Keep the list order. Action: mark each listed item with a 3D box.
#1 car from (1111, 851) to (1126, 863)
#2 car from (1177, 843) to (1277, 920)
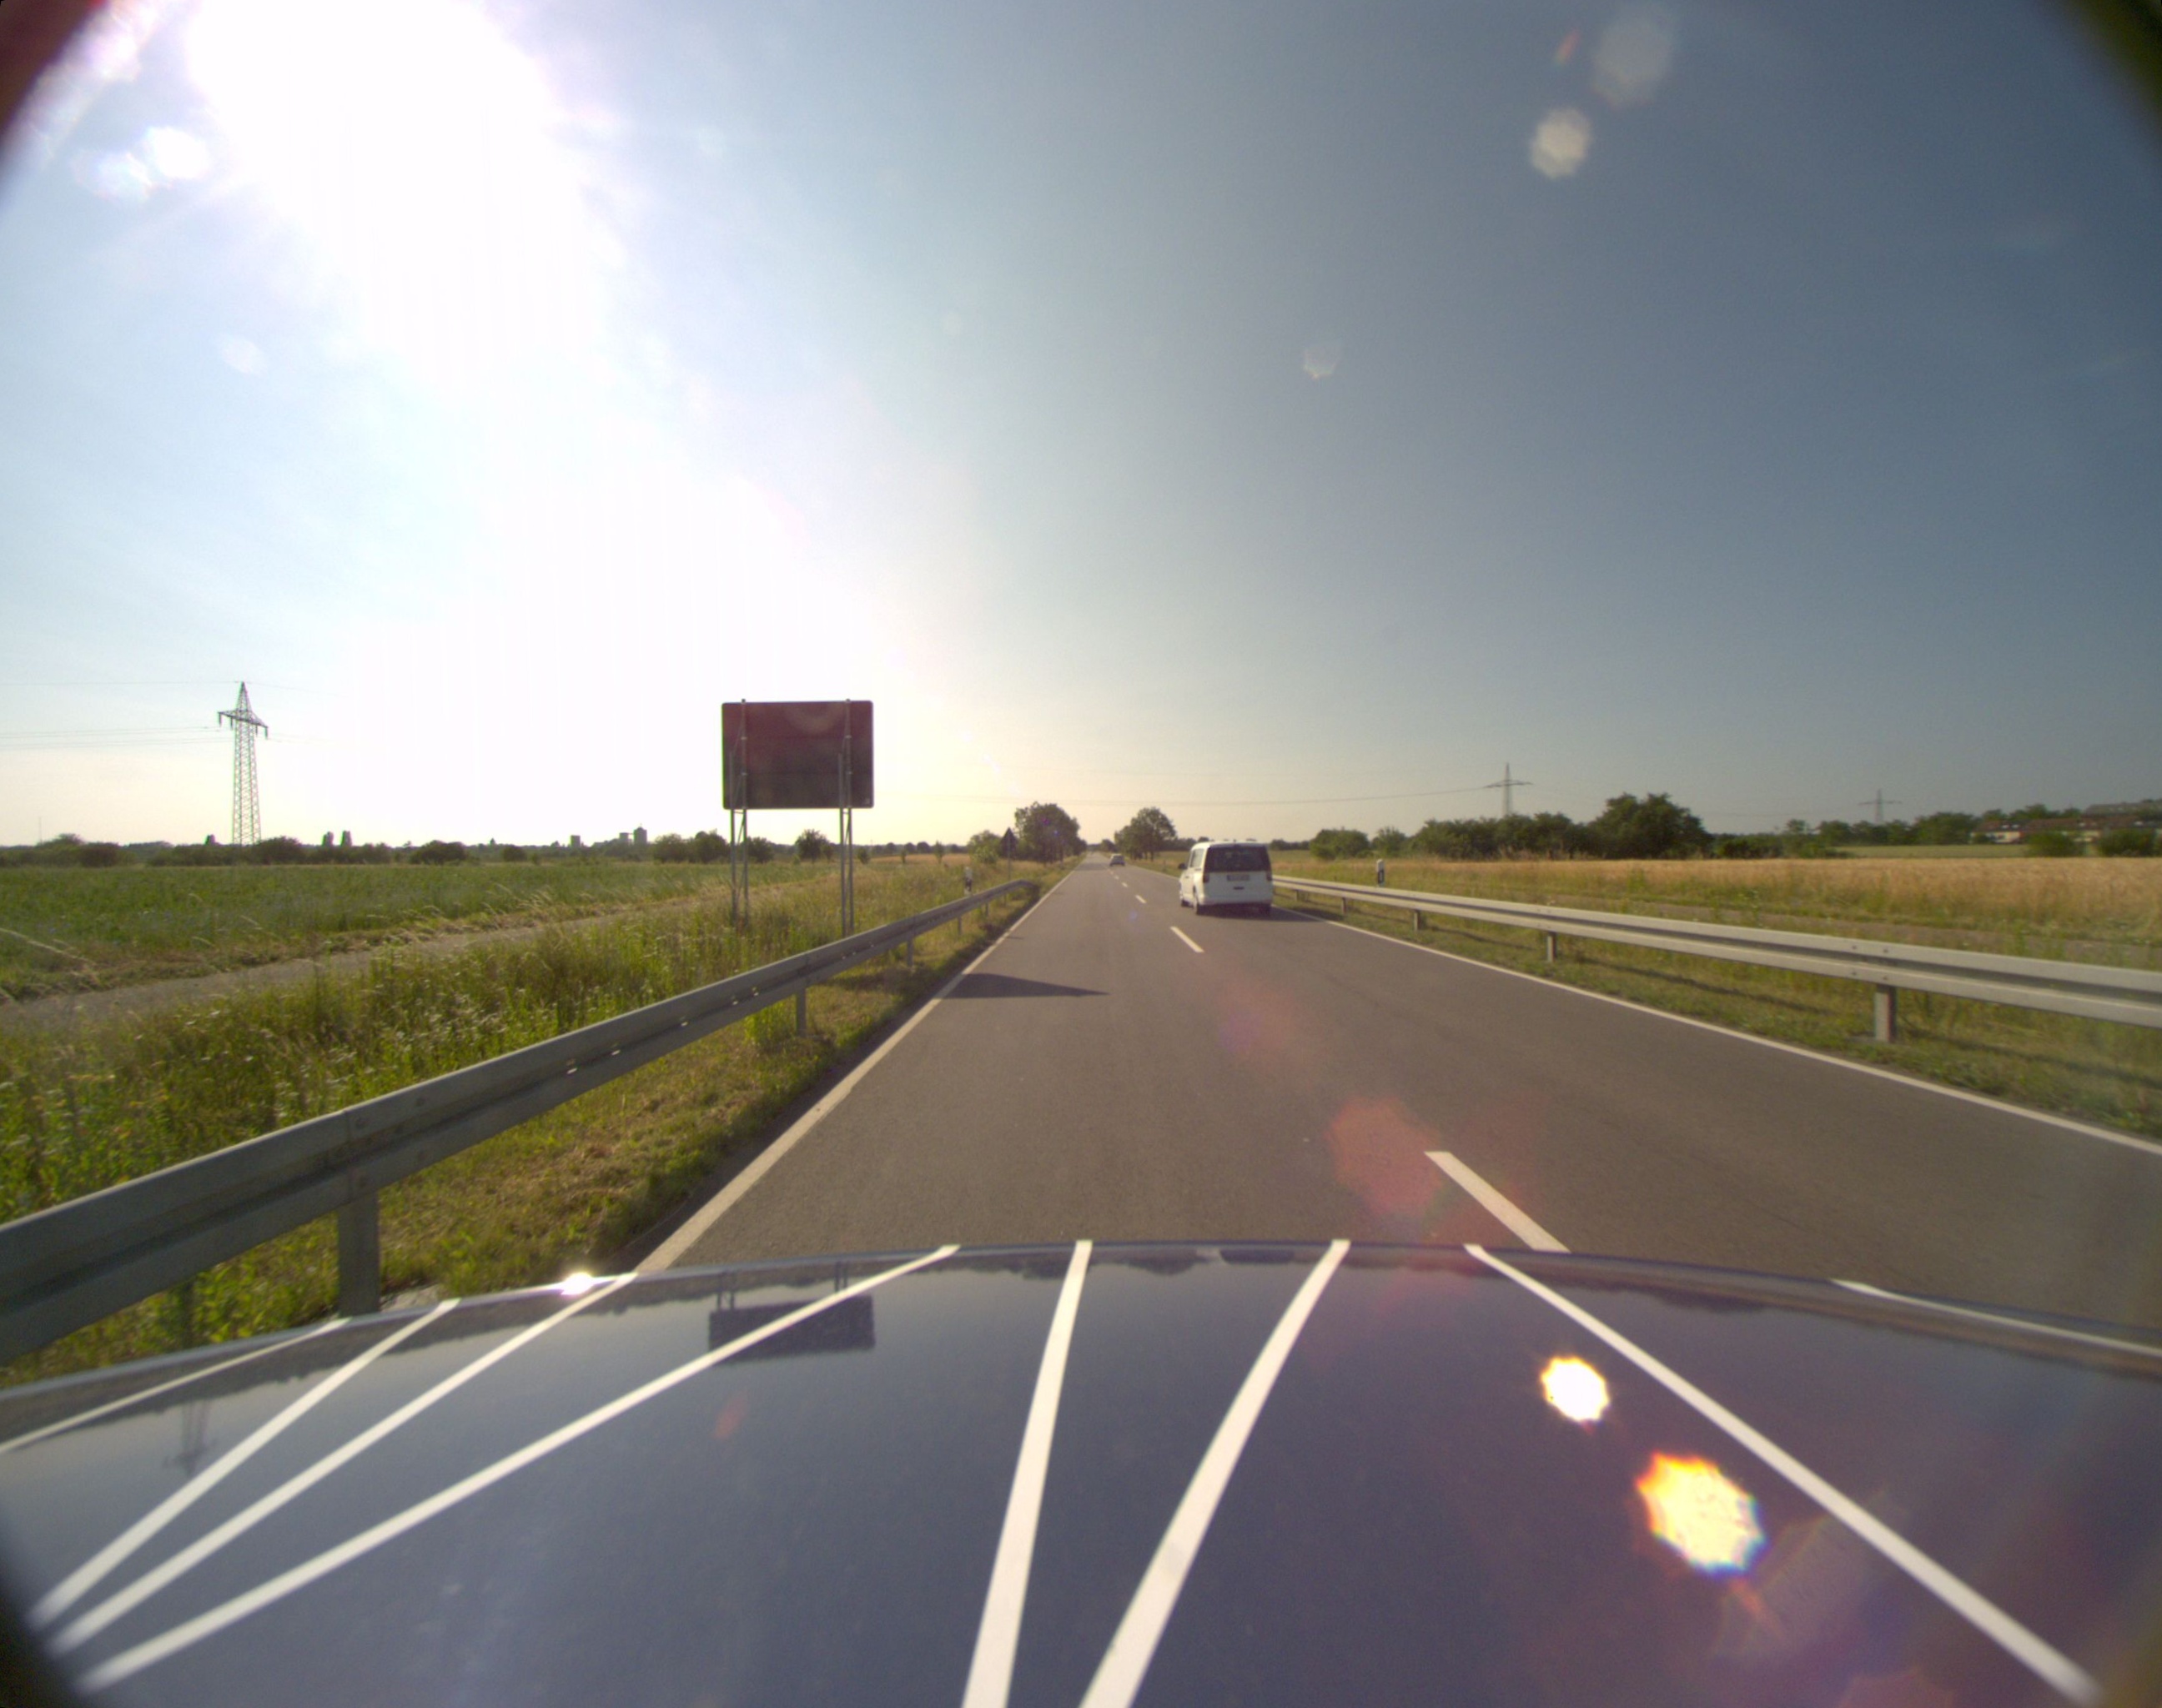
[{"bbox_3d":[4.618,0.331,94.554,1.731,1.429,4.516,-1,1,1],"label":"car"},{"bbox_3d":[3.684,0.634,19.907,1.841,1.776,4.434,-1,0,1],"label":"car"}]
